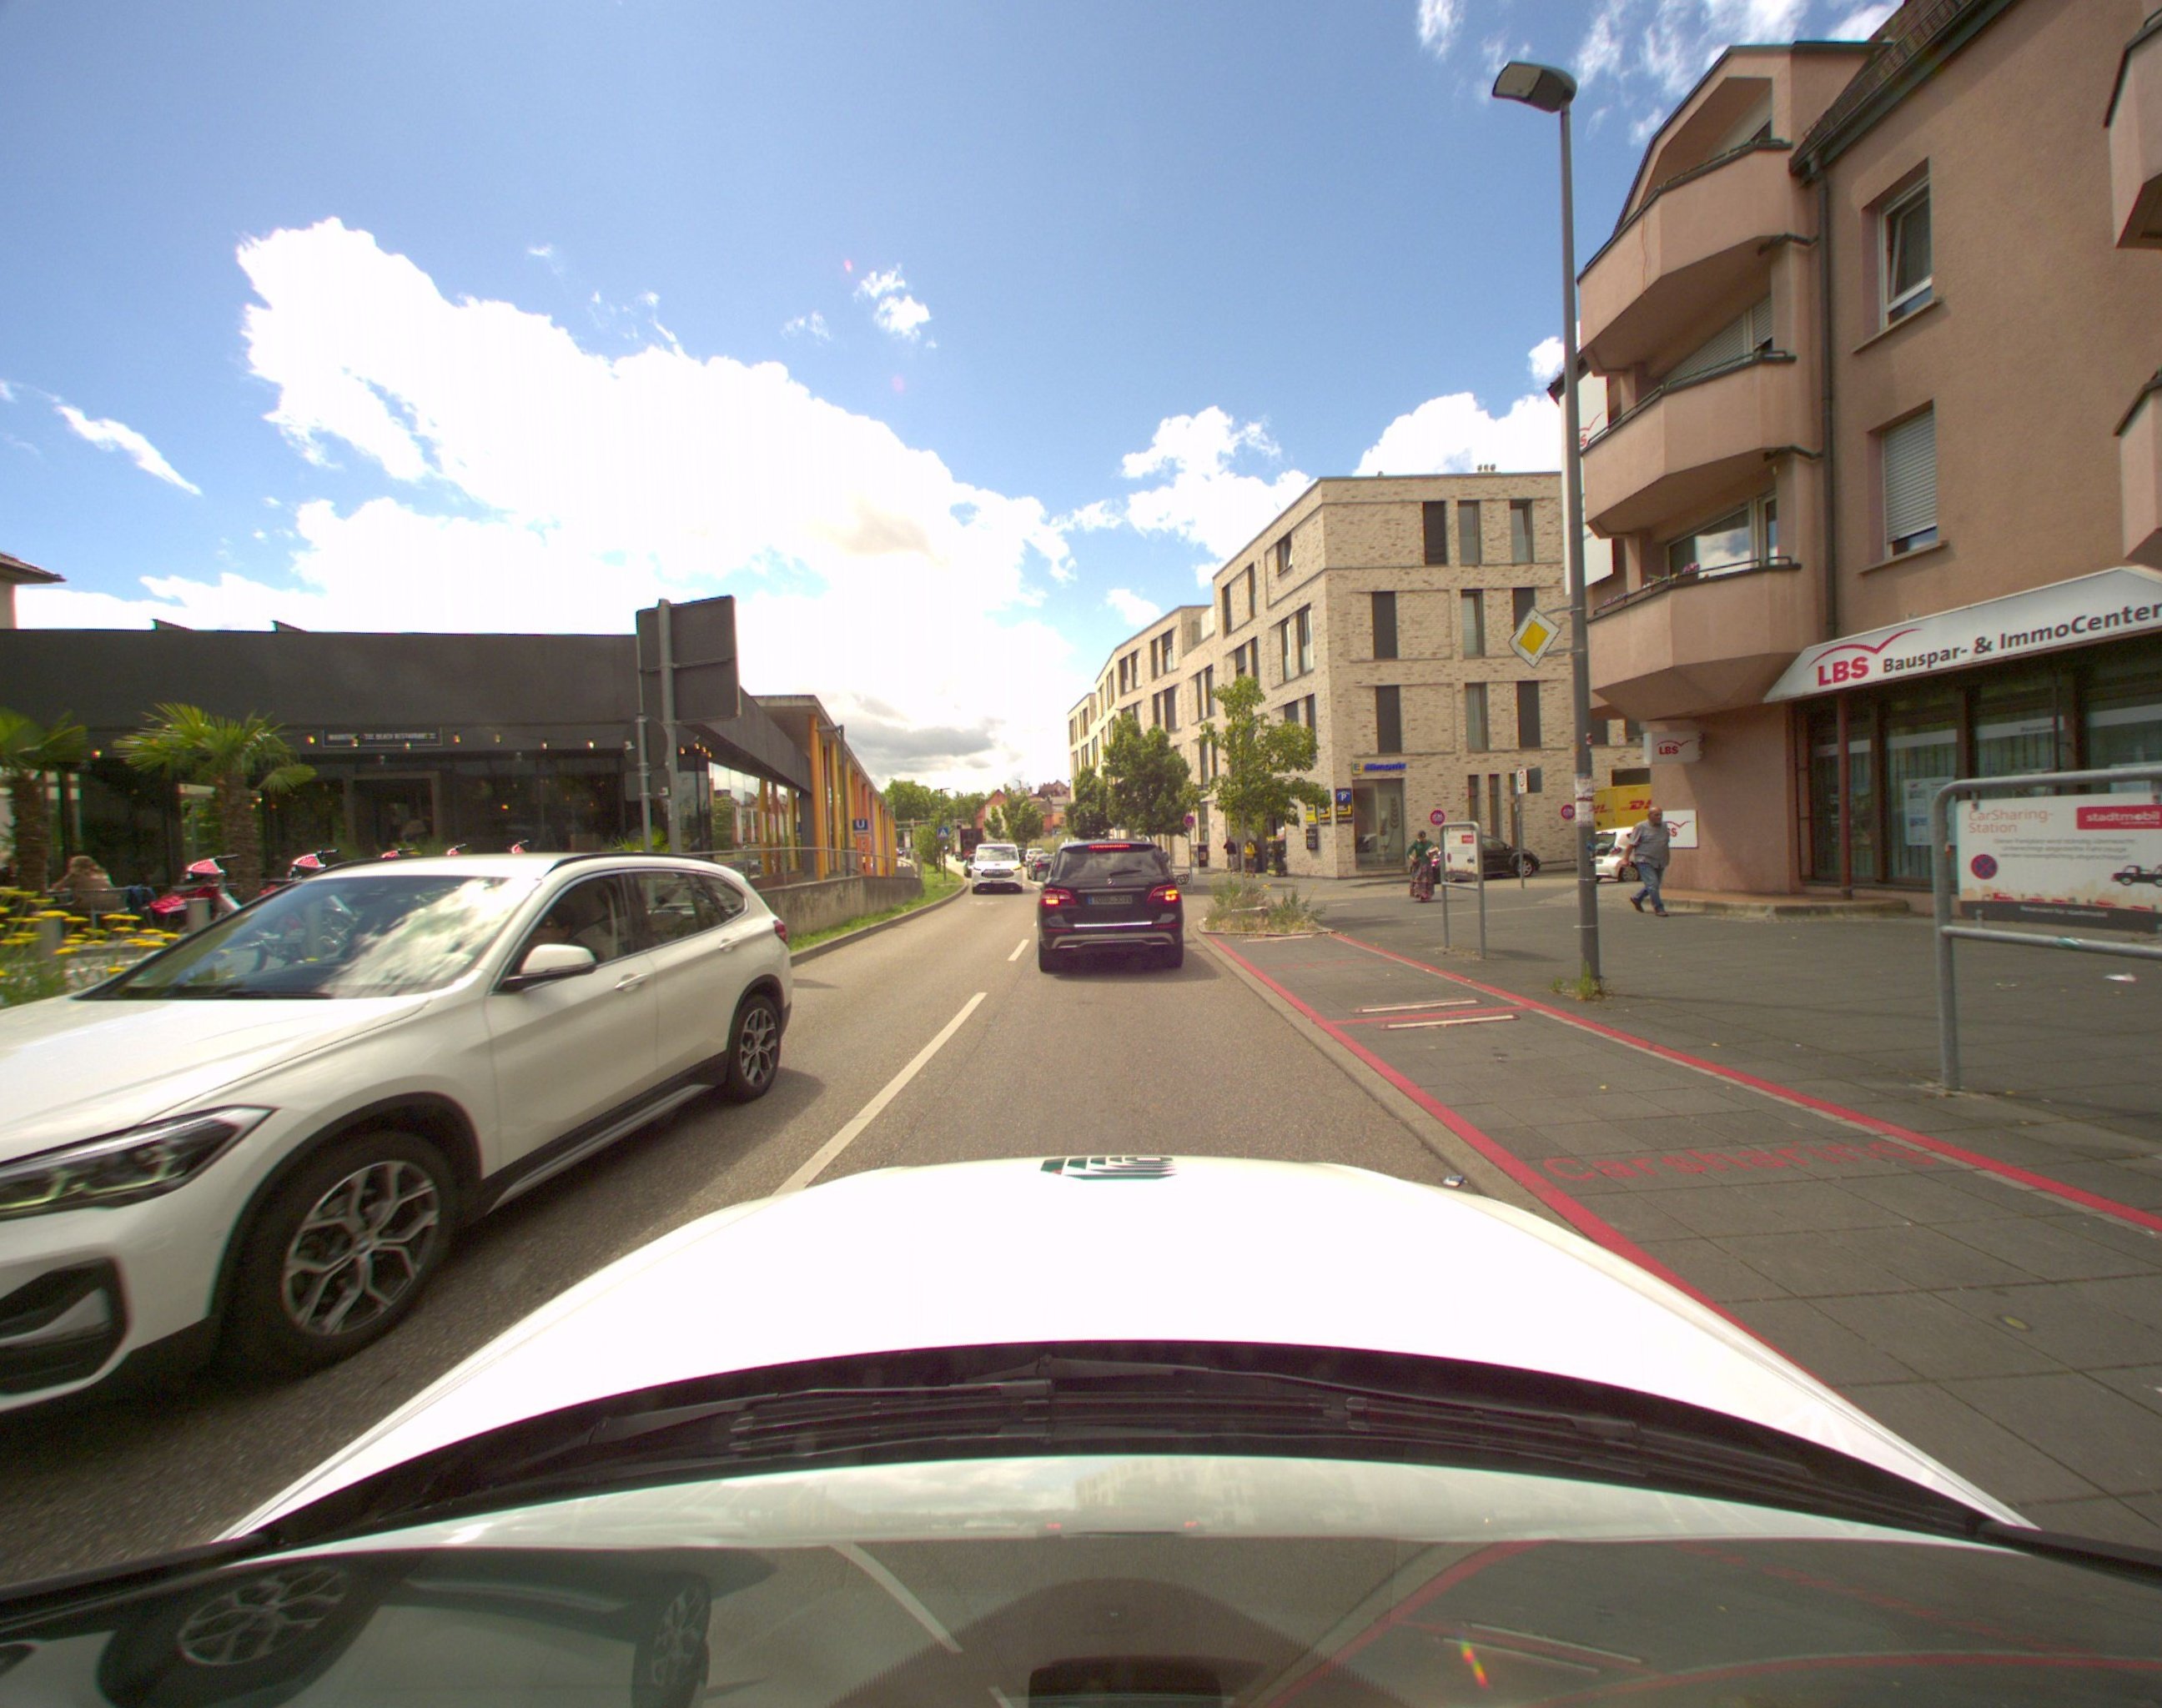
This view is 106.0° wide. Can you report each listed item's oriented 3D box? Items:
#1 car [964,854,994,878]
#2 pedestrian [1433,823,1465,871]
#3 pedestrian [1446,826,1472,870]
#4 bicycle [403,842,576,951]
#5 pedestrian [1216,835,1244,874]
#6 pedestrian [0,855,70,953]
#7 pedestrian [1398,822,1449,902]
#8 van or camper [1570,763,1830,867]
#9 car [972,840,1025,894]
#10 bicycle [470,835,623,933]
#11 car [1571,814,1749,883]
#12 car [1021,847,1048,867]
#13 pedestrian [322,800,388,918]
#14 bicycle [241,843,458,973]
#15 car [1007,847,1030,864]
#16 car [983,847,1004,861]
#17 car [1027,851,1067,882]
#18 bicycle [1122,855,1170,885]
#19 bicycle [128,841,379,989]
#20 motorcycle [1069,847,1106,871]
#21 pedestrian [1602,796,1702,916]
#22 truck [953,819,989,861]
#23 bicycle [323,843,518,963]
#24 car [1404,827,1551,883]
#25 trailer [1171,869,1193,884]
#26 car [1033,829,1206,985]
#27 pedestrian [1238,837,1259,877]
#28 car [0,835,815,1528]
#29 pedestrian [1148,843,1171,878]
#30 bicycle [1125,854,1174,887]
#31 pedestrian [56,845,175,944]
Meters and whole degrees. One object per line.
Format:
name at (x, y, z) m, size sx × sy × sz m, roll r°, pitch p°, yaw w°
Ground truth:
car at (-6.570, 0.736, 52.216) m, size 1.772 × 1.464 × 4.221 m, roll -1°, pitch 0°, yaw -9°
pedestrian at (13.095, -0.229, 29.011) m, size 0.557 × 1.671 × 0.807 m, roll -1°, pitch -2°, yaw -32°
pedestrian at (13.625, -0.214, 29.371) m, size 0.524 × 1.573 × 0.597 m, roll -1°, pitch -2°, yaw -32°
bicycle at (-6.742, 0.471, 9.324) m, size 1.540 × 1.127 × 0.534 m, roll -3°, pitch 0°, yaw 1°
pedestrian at (7.006, 0.021, 38.304) m, size 1.016 × 1.741 × 0.656 m, roll -3°, pitch 0°, yaw -16°
pedestrian at (-15.523, 0.721, 11.772) m, size 0.798 × 1.379 × 0.790 m, roll -1°, pitch -1°, yaw -11°
pedestrian at (7.475, 0.161, 17.749) m, size 0.737 × 1.638 × 0.933 m, roll -4°, pitch 1°, yaw 35°
van or camper at (20.332, -1.227, 26.966) m, size 6.838 × 2.736 × 2.275 m, roll -5°, pitch -1°, yaw -2°
car at (-3.398, 0.480, 33.436) m, size 1.991 × 2.013 × 5.382 m, roll -1°, pitch 0°, yaw -6°
bicycle at (-6.772, 0.368, 10.357) m, size 1.540 × 1.127 × 0.534 m, roll -3°, pitch 0°, yaw 1°
car at (14.962, -0.146, 21.167) m, size 3.371 × 1.477 × 1.718 m, roll -4°, pitch 0°, yaw -1°
car at (-3.913, 0.240, 67.801) m, size 1.693 × 1.483 × 3.784 m, roll -4°, pitch 1°, yaw -10°
pedestrian at (-13.007, 0.091, 14.603) m, size 0.632 × 2.052 × 0.665 m, roll -1°, pitch -1°, yaw -14°
bicycle at (-6.958, 0.497, 7.781) m, size 1.540 × 1.127 × 0.534 m, roll -3°, pitch 0°, yaw 1°
car at (-5.922, 0.147, 76.982) m, size 1.693 × 1.461 × 4.131 m, roll -4°, pitch 1°, yaw -11°
car at (-10.542, 0.005, 97.787) m, size 1.785 × 1.451 × 4.455 m, roll -4°, pitch 2°, yaw -14°
car at (-1.918, 0.654, 45.194) m, size 1.726 × 1.456 × 3.796 m, roll -3°, pitch 2°, yaw -9°
bicycle at (2.690, 0.648, 33.762) m, size 1.820 × 1.131 × 0.755 m, roll -4°, pitch 0°, yaw -6°
bicycle at (-6.983, 0.496, 6.909) m, size 1.540 × 1.127 × 0.534 m, roll -3°, pitch 0°, yaw 1°
motorcycle at (0.384, 0.295, 47.525) m, size 2.040 × 1.266 × 0.674 m, roll -4°, pitch 0°, yaw 5°
pedestrian at (8.539, 0.034, 12.221) m, size 0.714 × 1.685 × 0.944 m, roll -4°, pitch -1°, yaw -2°
truck at (-12.715, -1.493, 93.367) m, size 3.206 × 4.536 × 8.989 m, roll -2°, pitch -1°, yaw -12°
bicycle at (-6.834, 0.495, 8.462) m, size 1.540 × 1.127 × 0.534 m, roll -3°, pitch 0°, yaw 1°
car at (12.797, 0.026, 26.432) m, size 3.889 × 1.477 × 1.780 m, roll -4°, pitch 0°, yaw -6°
trailer at (4.074, 0.909, 32.868) m, size 0.718 × 0.528 × 0.811 m, roll -2°, pitch 0°, yaw -2°
car at (0.339, 0.619, 12.125) m, size 1.990 × 1.746 × 4.526 m, roll -4°, pitch 1°, yaw -4°
pedestrian at (7.202, 0.136, 34.955) m, size 0.651 × 1.692 × 0.635 m, roll -3°, pitch 0°, yaw 28°
car at (-3.042, 0.772, 3.992) m, size 1.814 × 1.584 × 4.170 m, roll -2°, pitch 0°, yaw 4°
pedestrian at (3.692, 0.309, 38.285) m, size 0.812 × 1.565 × 0.927 m, roll -1°, pitch -1°, yaw -10°
bicycle at (2.763, 0.641, 32.936) m, size 1.820 × 1.201 × 0.755 m, roll -4°, pitch 0°, yaw -6°
pedestrian at (-14.176, 0.583, 11.981) m, size 0.798 × 1.379 × 0.790 m, roll -1°, pitch -1°, yaw -11°
